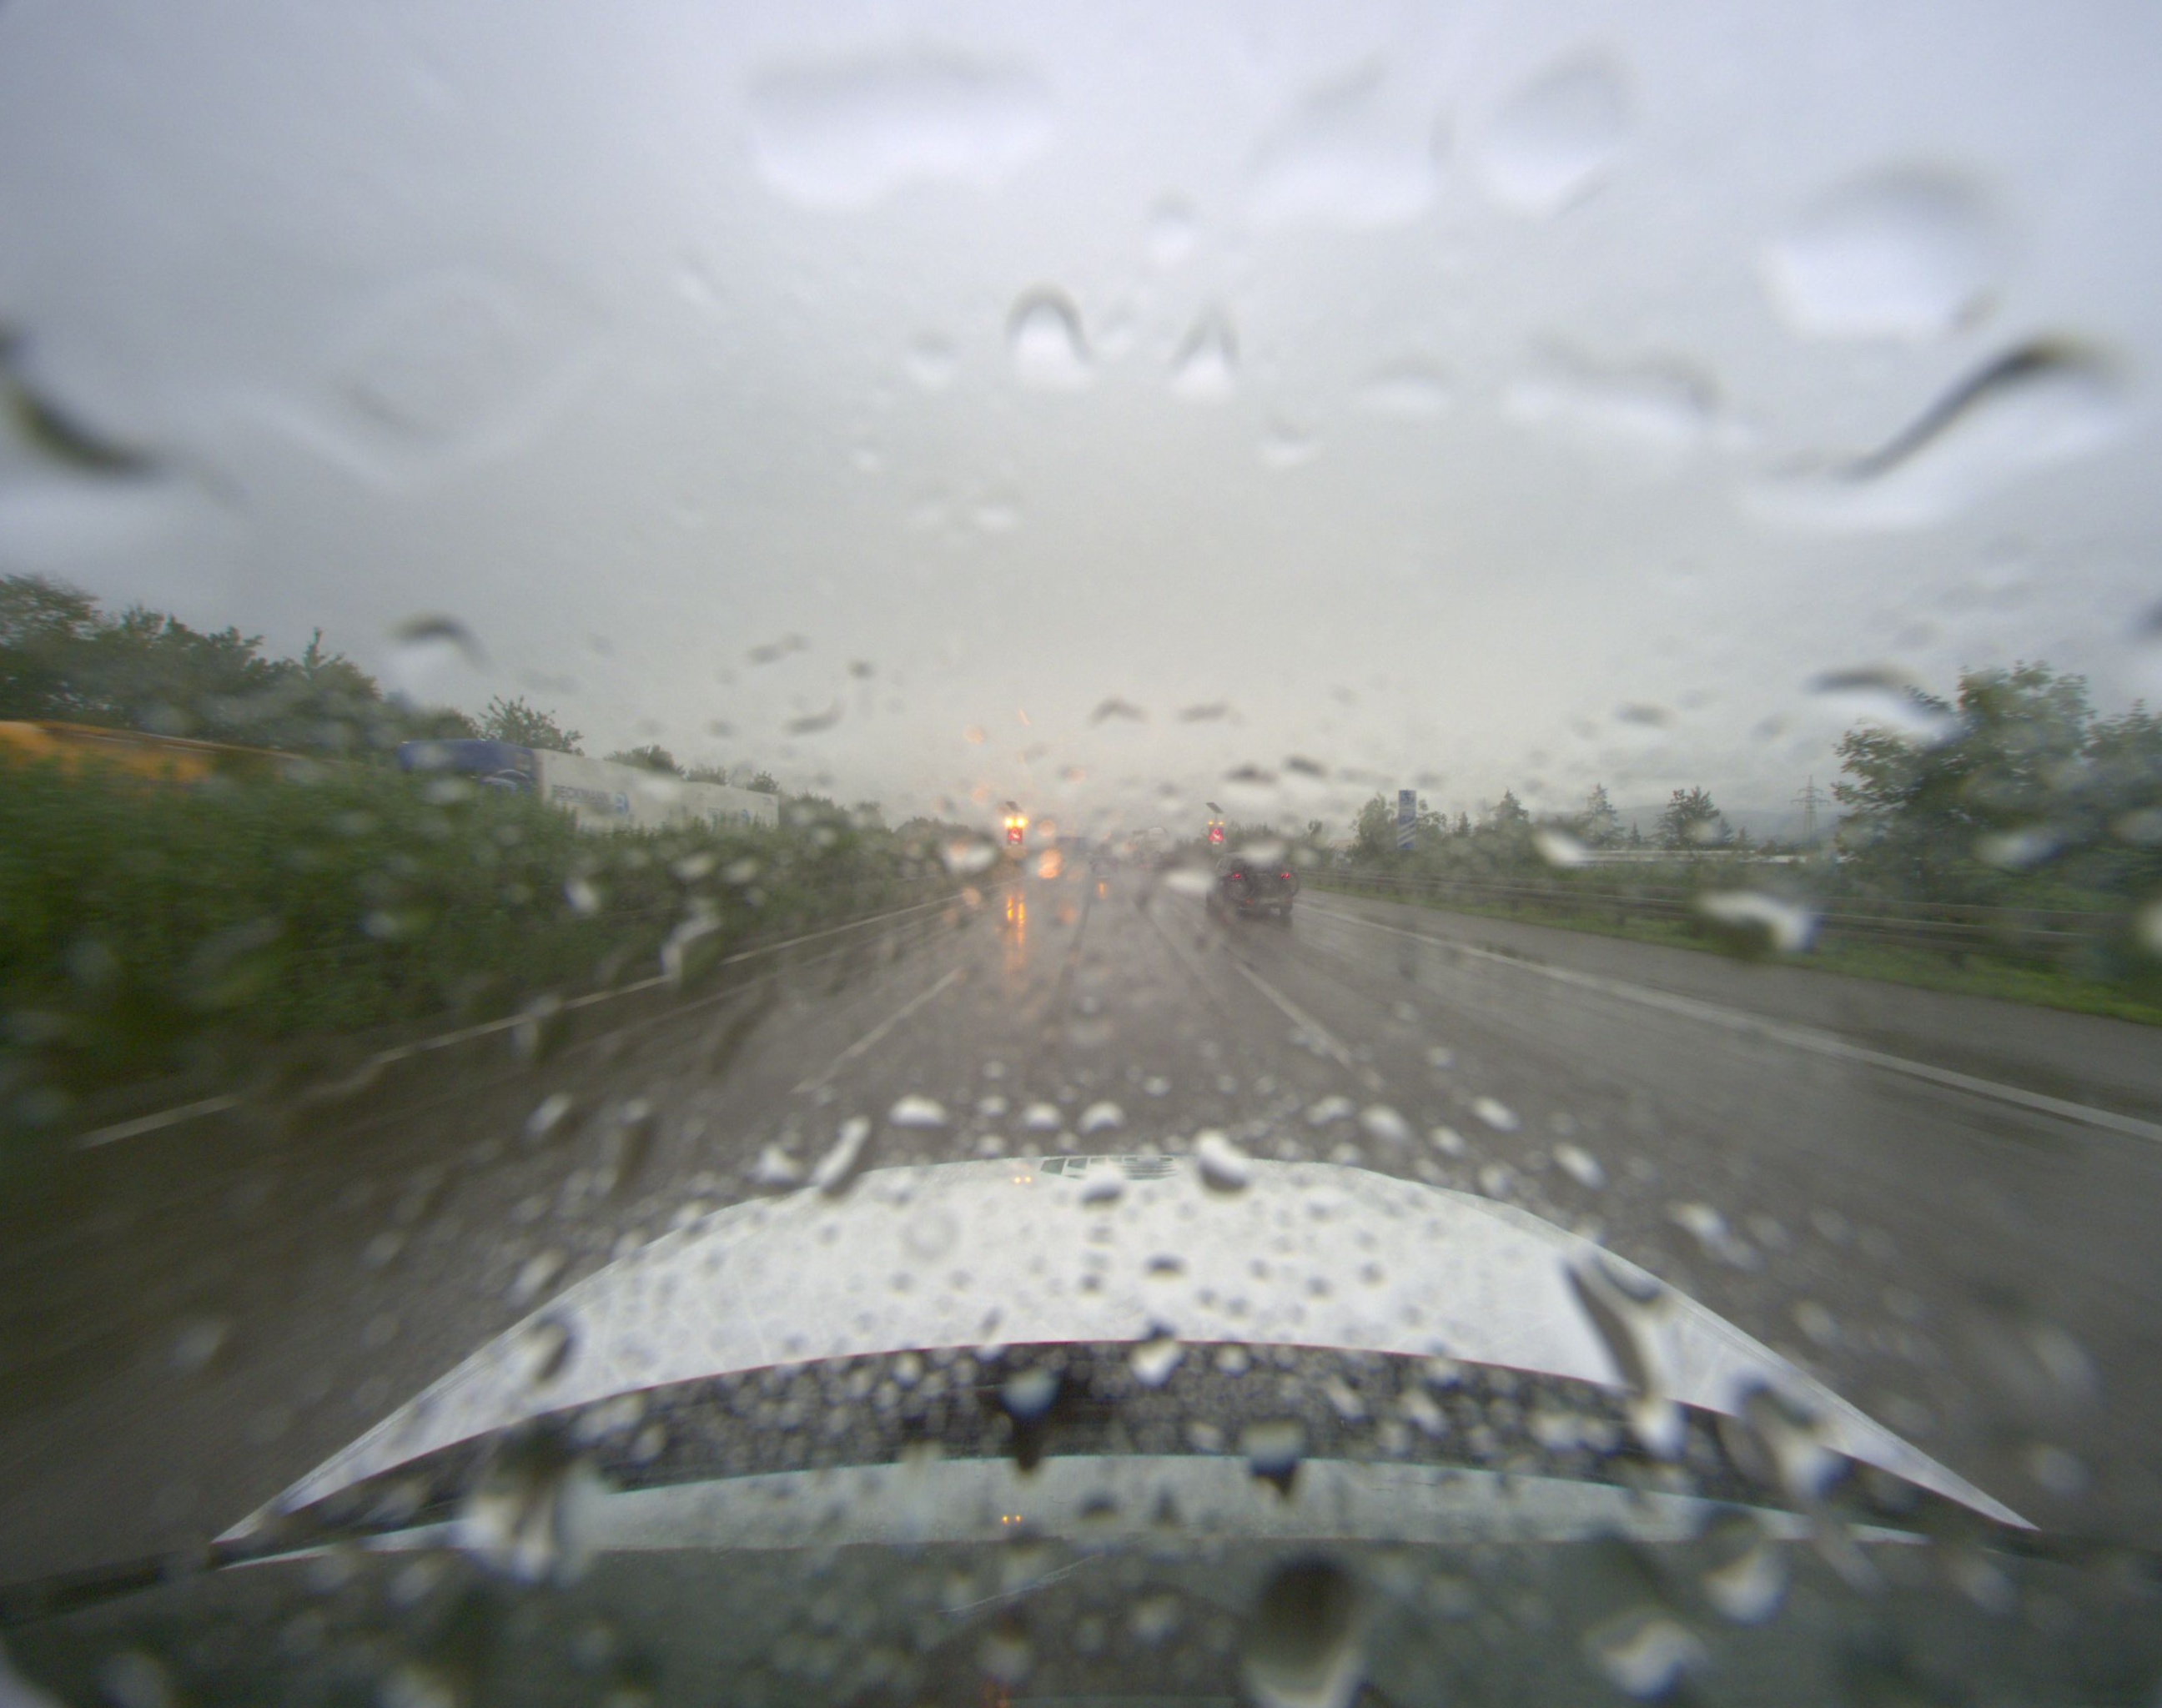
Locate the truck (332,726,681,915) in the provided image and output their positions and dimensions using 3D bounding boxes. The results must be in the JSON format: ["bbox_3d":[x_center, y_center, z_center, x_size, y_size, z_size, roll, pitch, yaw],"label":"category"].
[{"bbox_3d":[-16.551,-0.842,24.891,3.822,4.639,9.410,-1,0,1],"label":"truck"}]

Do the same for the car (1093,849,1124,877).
[{"bbox_3d":[1.872,0.590,54.970,1.971,1.756,4.483,-1,0,2],"label":"car"}]

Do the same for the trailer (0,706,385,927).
[{"bbox_3d":[-20.572,-0.649,15.404,3.186,3.877,13.259,0,0,1],"label":"trailer"}]

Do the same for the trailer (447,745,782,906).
[{"bbox_3d":[-16.402,-0.802,31.333,3.855,4.695,15.031,0,0,2],"label":"trailer"}]

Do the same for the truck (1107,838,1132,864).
[{"bbox_3d":[5.577,-0.455,117.923,2.938,3.684,6.353,0,0,-4],"label":"truck"}]

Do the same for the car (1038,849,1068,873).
[{"bbox_3d":[-2.086,0.491,61.016,1.918,1.741,4.406,-1,0,2],"label":"car"}]

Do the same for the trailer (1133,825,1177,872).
[{"bbox_3d":[6.259,-0.443,70.627,3.176,3.670,11.673,-1,0,2],"label":"trailer"}]

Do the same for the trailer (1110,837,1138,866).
[{"bbox_3d":[5.924,-0.377,113.968,2.998,3.847,8.612,0,0,-4],"label":"trailer"}]

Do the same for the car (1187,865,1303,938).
[{"bbox_3d":[4.388,1.199,22.833,2.447,1.746,5.725,0,0,4],"label":"car"}]
